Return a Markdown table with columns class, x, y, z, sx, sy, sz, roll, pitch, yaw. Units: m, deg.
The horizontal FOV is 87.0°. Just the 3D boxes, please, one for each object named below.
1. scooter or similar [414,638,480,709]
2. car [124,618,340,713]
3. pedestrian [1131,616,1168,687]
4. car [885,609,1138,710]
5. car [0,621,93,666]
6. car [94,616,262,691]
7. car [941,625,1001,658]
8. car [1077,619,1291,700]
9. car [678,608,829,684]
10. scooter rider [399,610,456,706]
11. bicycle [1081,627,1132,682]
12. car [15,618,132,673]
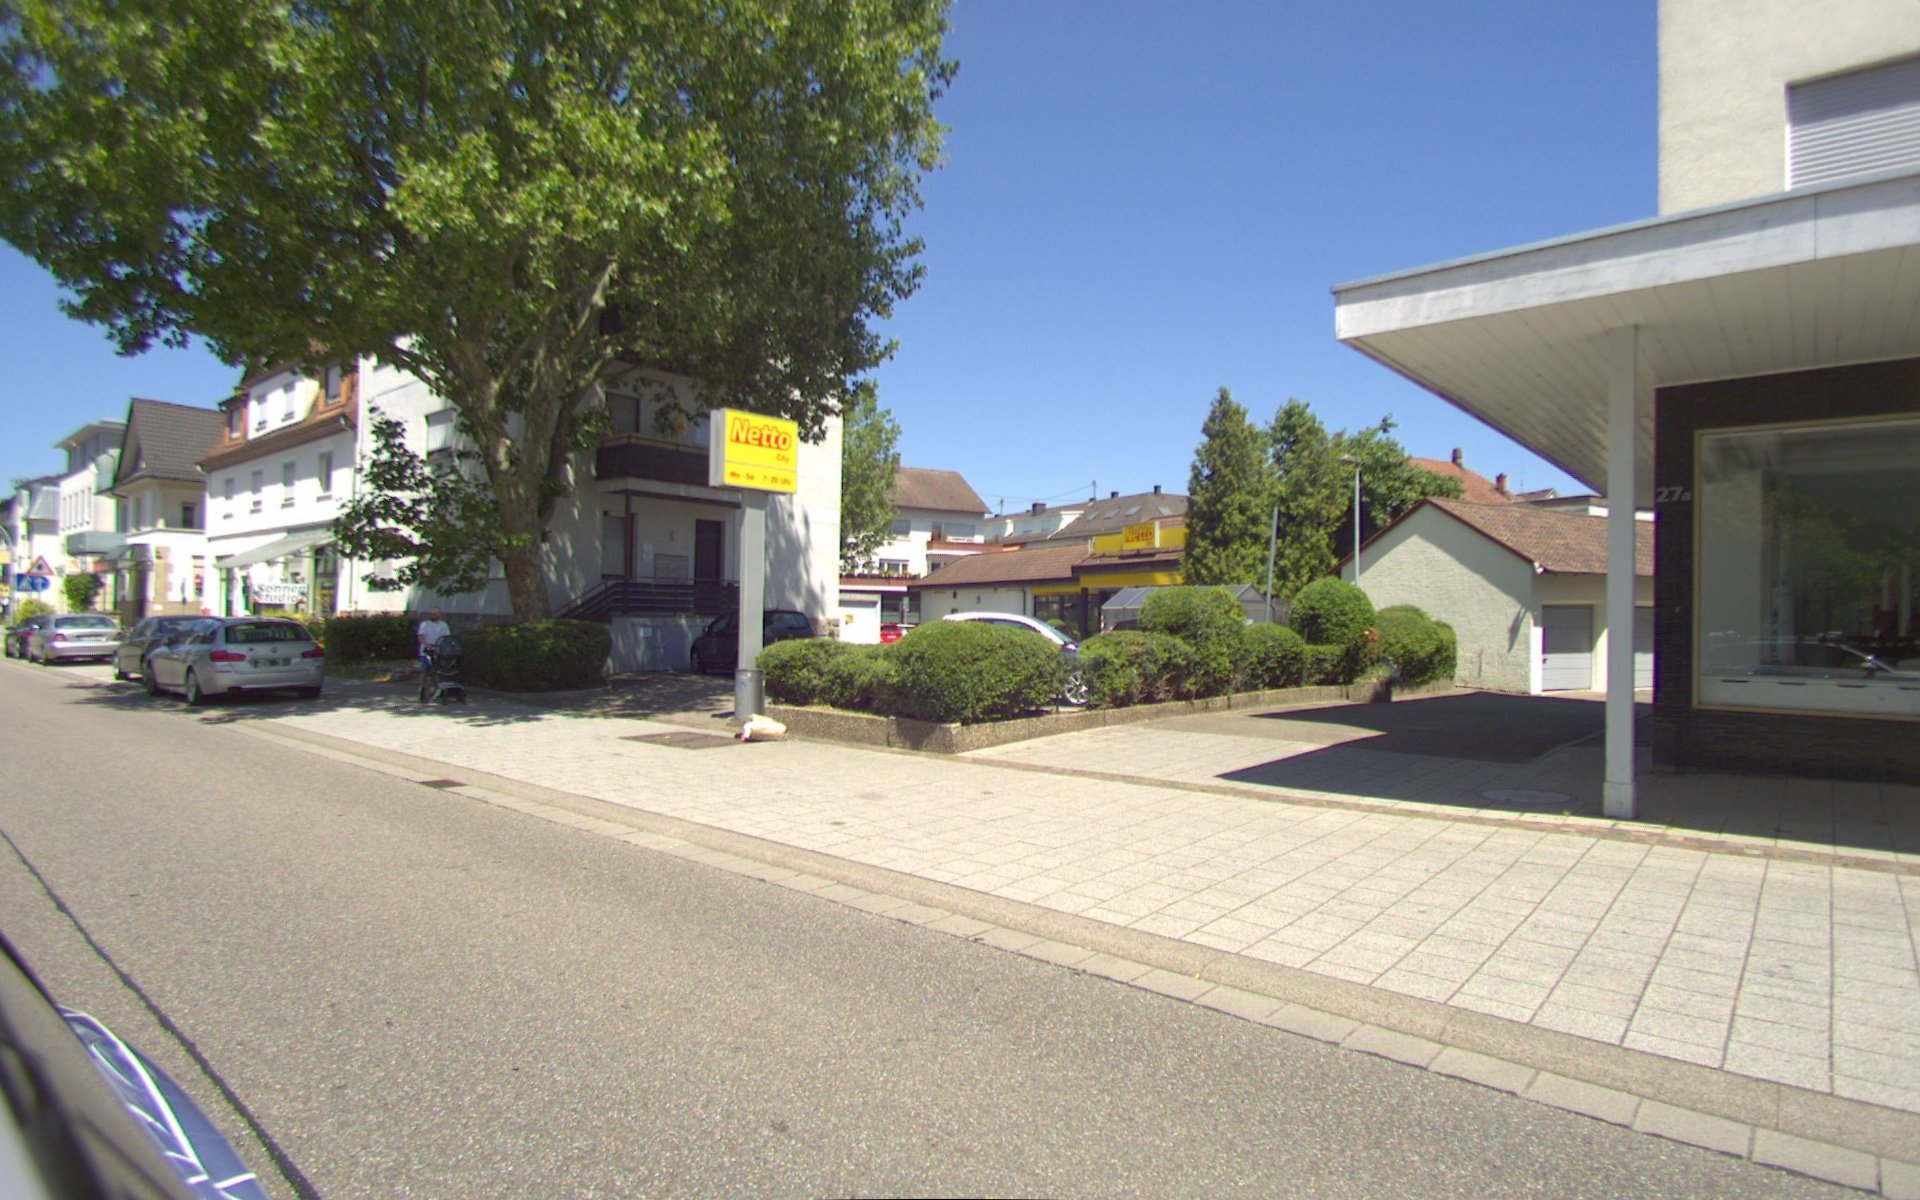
| class | x | y | z | sx | sy | sz | roll | pitch | yaw |
| --- | --- | --- | --- | --- | --- | --- | --- | --- | --- |
| scooter or similar | -8.516 | 1.204 | 16.796 | 1.028 | 1.106 | 0.656 | -1 | -1 | 42 |
| car | -13.160 | 1.063 | 18.161 | 5.147 | 1.463 | 1.961 | -1 | -1 | 40 |
| pedestrian | 4.499 | 1.203 | 23.974 | 0.714 | 1.639 | 0.679 | -1 | -2 | 27 |
| car | 0.923 | 0.934 | 16.670 | 3.953 | 1.498 | 1.891 | 0 | -2 | 11 |
| car | -30.806 | 1.408 | 33.950 | 5.096 | 1.384 | 1.922 | -1 | -2 | 42 |
| car | -17.331 | 1.105 | 22.347 | 4.864 | 1.463 | 1.961 | -1 | -1 | 40 |
| car | 0.586 | 2.016 | 49.665 | 1.982 | 1.509 | 3.980 | 0 | -2 | 15 |
| car | 4.455 | 1.141 | 20.149 | 3.906 | 1.473 | 1.737 | 0 | -3 | 24 |
| car | -4.743 | 1.001 | 22.847 | 1.782 | 1.557 | 4.115 | 2 | -2 | -36 |
| scooter rider | -9.178 | 0.982 | 17.450 | 0.877 | 1.587 | 0.582 | -2 | 0 | 42 |
| bicycle | 4.395 | 1.615 | 30.278 | 1.625 | 1.570 | 0.587 | -1 | 0 | -41 |
| car | -26.271 | 1.277 | 29.921 | 5.356 | 1.463 | 1.960 | -1 | -1 | 42 |
